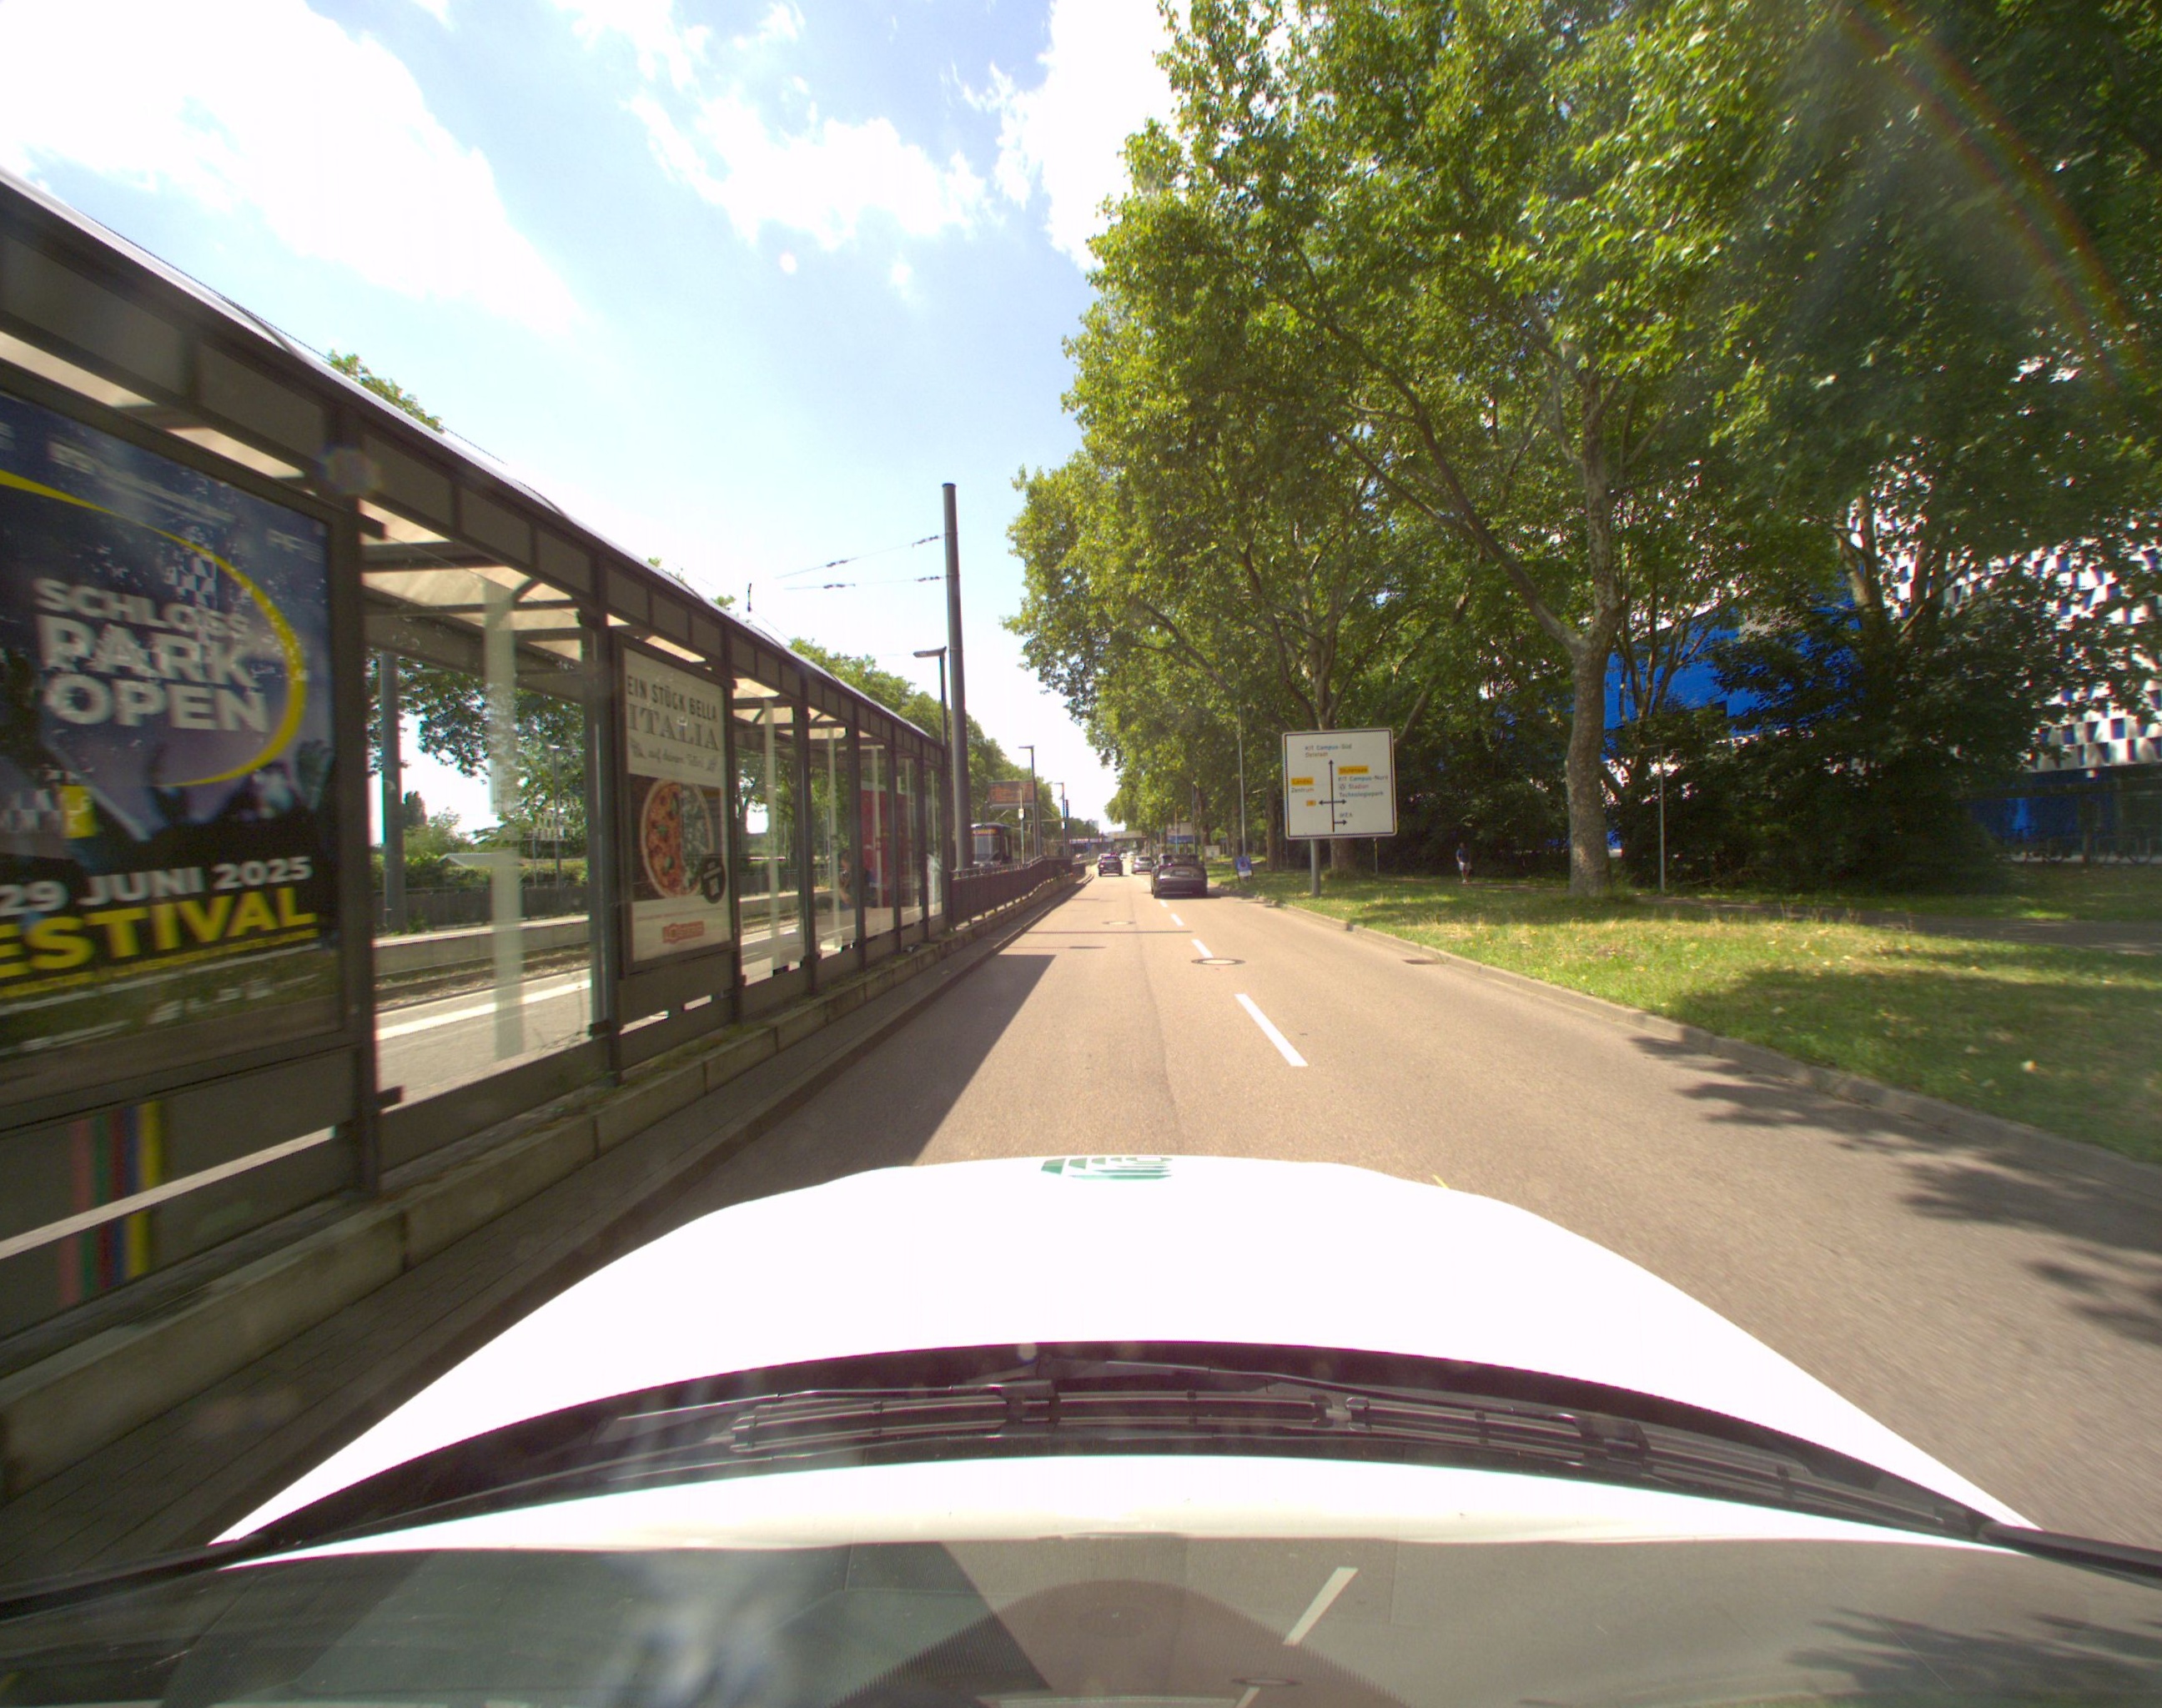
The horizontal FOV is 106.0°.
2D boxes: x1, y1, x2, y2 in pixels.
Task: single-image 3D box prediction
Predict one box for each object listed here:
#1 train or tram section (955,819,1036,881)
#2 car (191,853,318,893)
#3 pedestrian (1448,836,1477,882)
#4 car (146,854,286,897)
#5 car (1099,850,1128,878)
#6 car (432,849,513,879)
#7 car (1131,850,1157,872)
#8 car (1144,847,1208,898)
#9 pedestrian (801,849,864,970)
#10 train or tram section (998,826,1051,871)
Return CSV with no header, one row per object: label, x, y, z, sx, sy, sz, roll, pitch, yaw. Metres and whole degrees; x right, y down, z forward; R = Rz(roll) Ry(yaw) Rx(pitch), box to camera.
train or tram section,-4.885,-0.205,49.856,3.026,3.186,14.105,-2,0,2
car,-37.453,0.843,36.965,3.897,1.661,1.912,-1,1,4
pedestrian,17.256,0.222,36.851,0.833,2.013,0.957,-2,0,1
car,-36.102,0.878,34.063,3.897,1.661,1.912,-1,1,4
car,2.441,0.694,60.771,1.984,1.989,4.368,0,0,4
car,-37.753,0.576,50.664,1.896,1.661,3.930,-1,1,2
car,5.049,0.542,65.388,1.825,1.630,4.297,-1,0,2
car,3.395,0.658,29.812,1.891,1.674,4.520,-1,-1,1
pedestrian,-2.665,0.577,8.760,0.496,1.252,0.468,-1,1,-1
train or tram section,-4.317,-0.404,64.397,3.025,3.186,9.454,-2,0,3
